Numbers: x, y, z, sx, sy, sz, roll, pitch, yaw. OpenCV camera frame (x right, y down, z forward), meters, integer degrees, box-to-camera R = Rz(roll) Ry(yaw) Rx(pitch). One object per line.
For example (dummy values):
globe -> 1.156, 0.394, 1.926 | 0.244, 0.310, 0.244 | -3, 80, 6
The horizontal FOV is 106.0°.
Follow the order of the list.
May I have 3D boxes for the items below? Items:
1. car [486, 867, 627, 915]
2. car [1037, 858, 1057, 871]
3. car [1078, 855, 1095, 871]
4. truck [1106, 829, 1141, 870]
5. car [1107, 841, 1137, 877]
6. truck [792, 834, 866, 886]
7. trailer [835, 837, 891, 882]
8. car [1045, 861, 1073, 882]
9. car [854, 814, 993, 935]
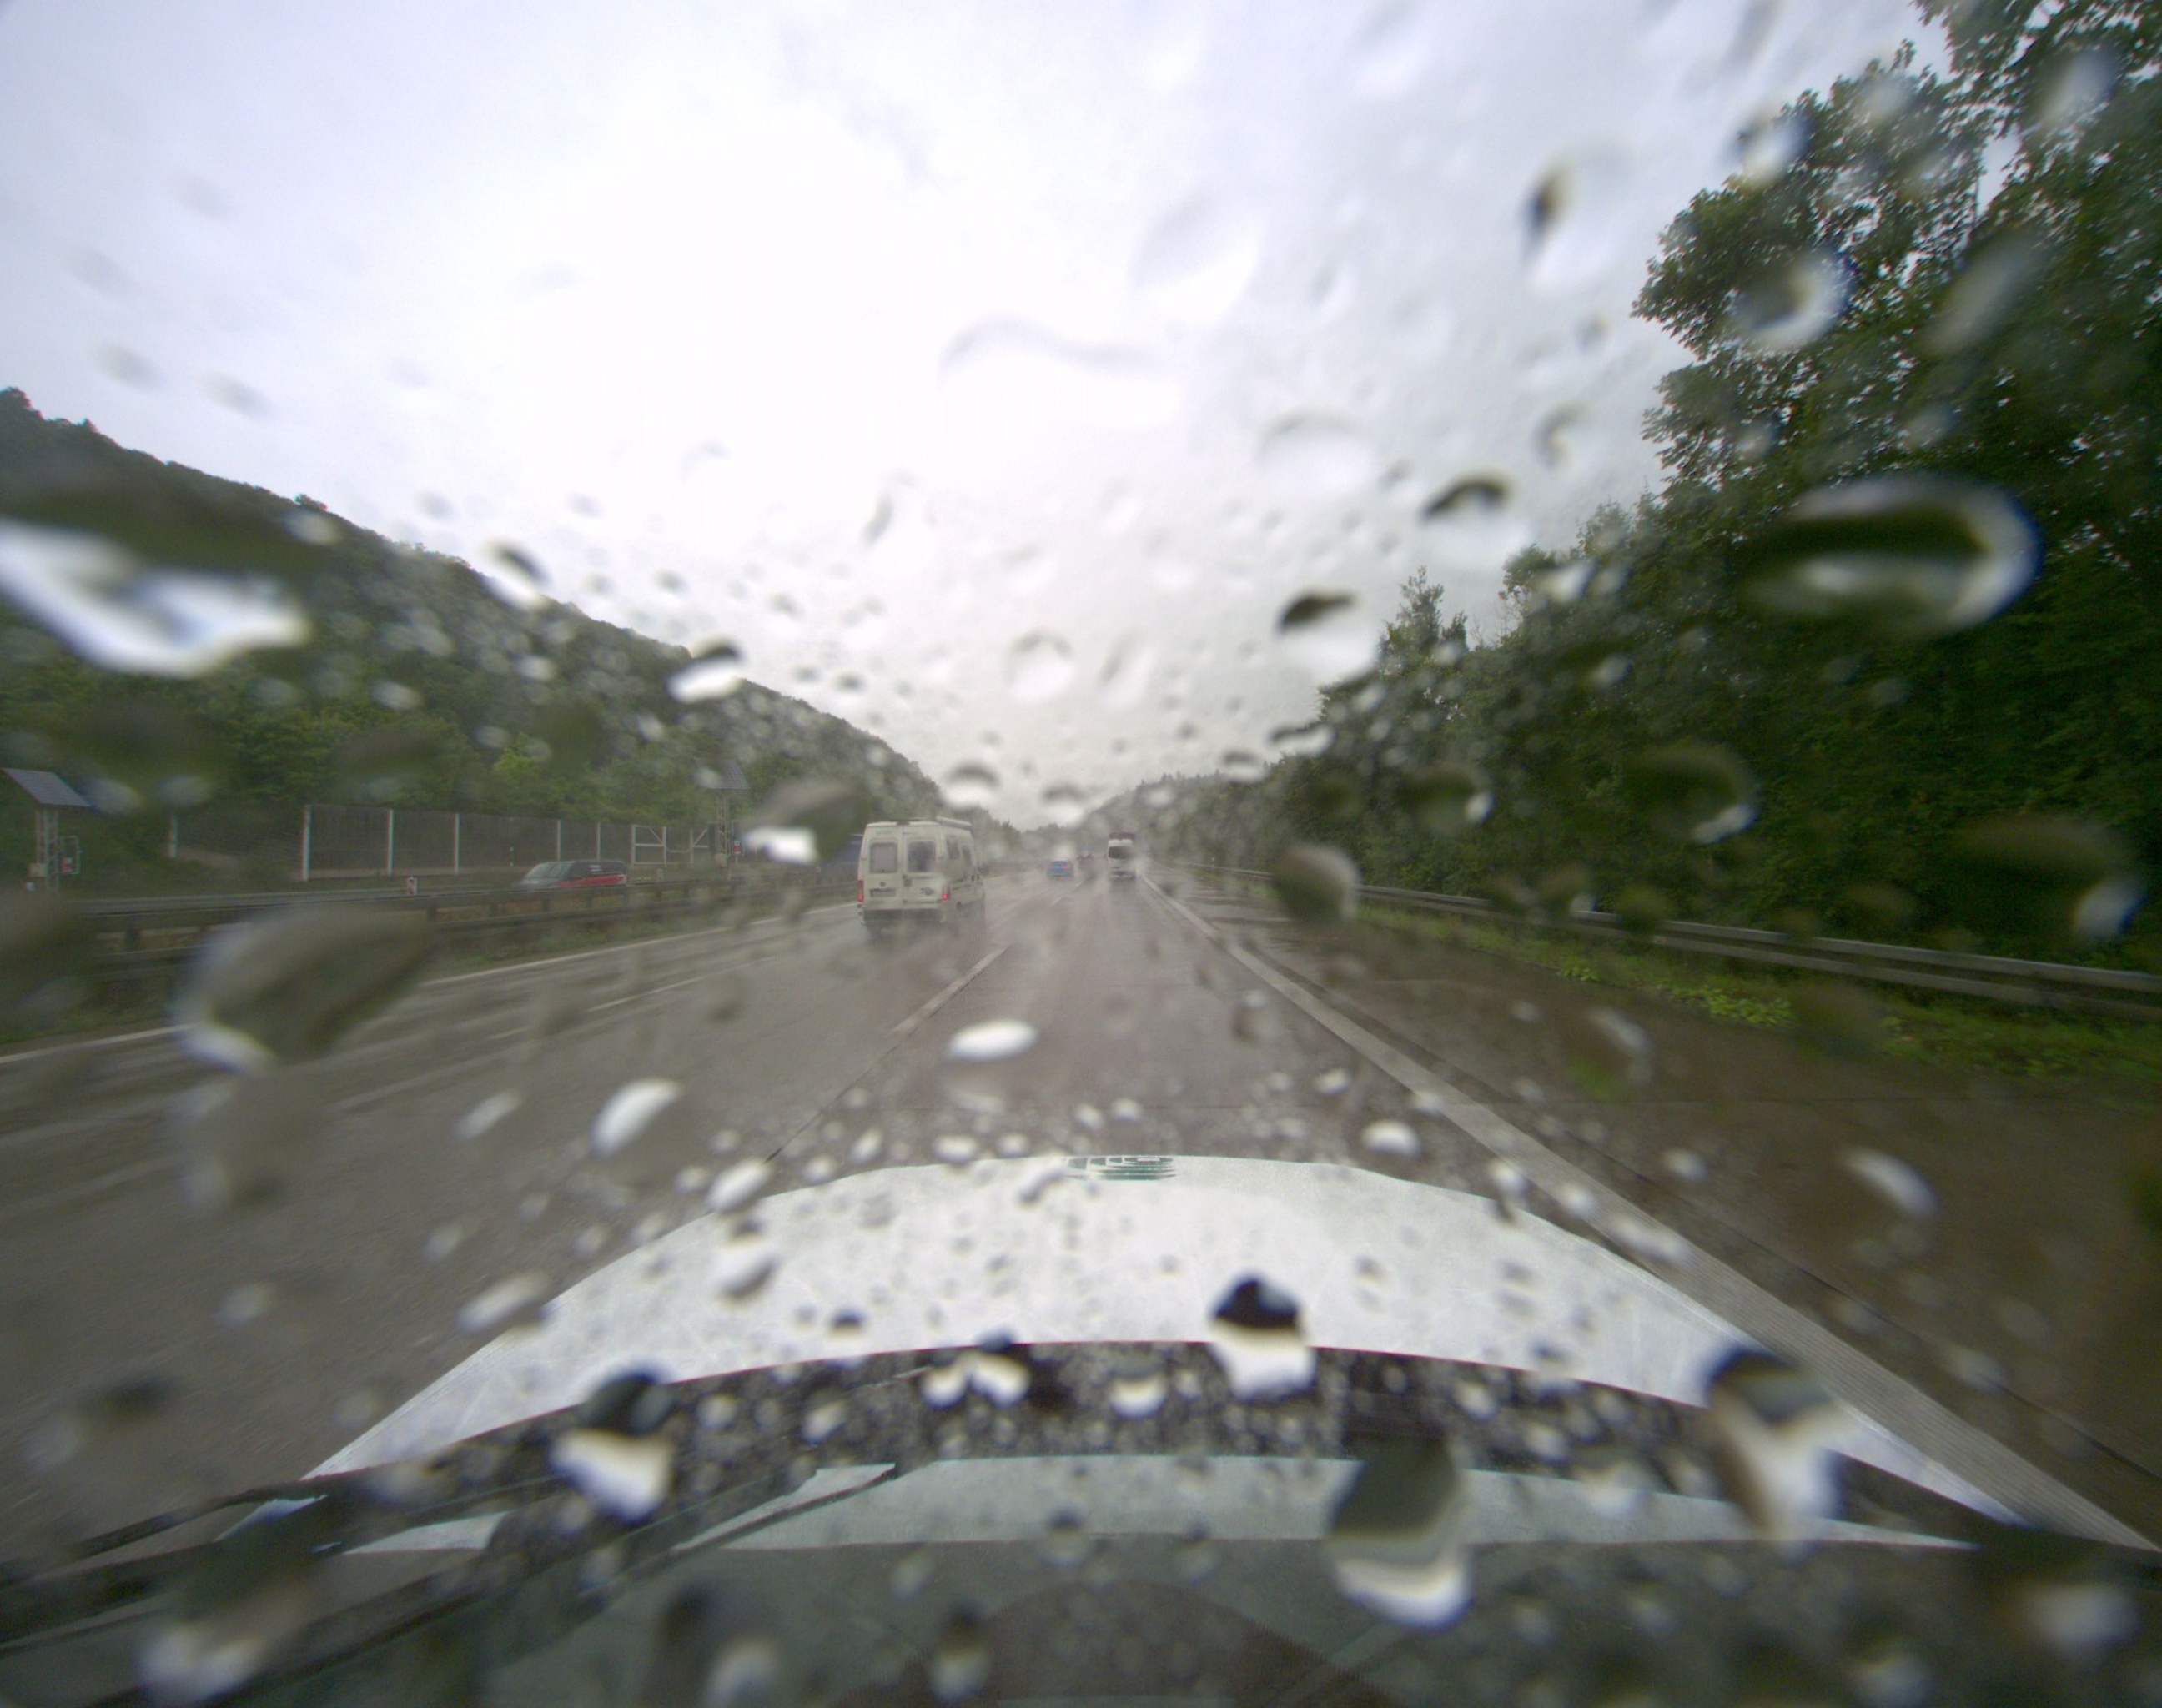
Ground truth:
car -> -19.690, 1.334, 30.925 | 1.746, 1.532, 5.273 | -1, 0, 2
car -> -3.555, 1.084, 85.000 | 1.850, 1.339, 4.351 | -1, 0, 0
car -> 0.627, 0.990, 94.270 | 1.861, 1.810, 4.190 | -1, 0, 2
truck -> 4.523, -0.598, 86.558 | 3.371, 3.967, 8.673 | -3, 2, 3
car -> 2.745, 0.317, 55.478 | 1.892, 2.334, 5.253 | -1, 0, 2
truck -> -21.589, 0.481, 70.451 | 2.837, 4.154, 10.184 | -1, 0, 2
trailer -> -21.195, 0.491, 79.817 | 2.837, 4.154, 8.529 | -1, 0, 2
car -> -1.482, 1.185, 57.405 | 1.850, 1.339, 4.350 | -1, 0, 0
car -> -3.521, 0.417, 19.434 | 1.990, 2.432, 5.793 | -1, 0, 2
